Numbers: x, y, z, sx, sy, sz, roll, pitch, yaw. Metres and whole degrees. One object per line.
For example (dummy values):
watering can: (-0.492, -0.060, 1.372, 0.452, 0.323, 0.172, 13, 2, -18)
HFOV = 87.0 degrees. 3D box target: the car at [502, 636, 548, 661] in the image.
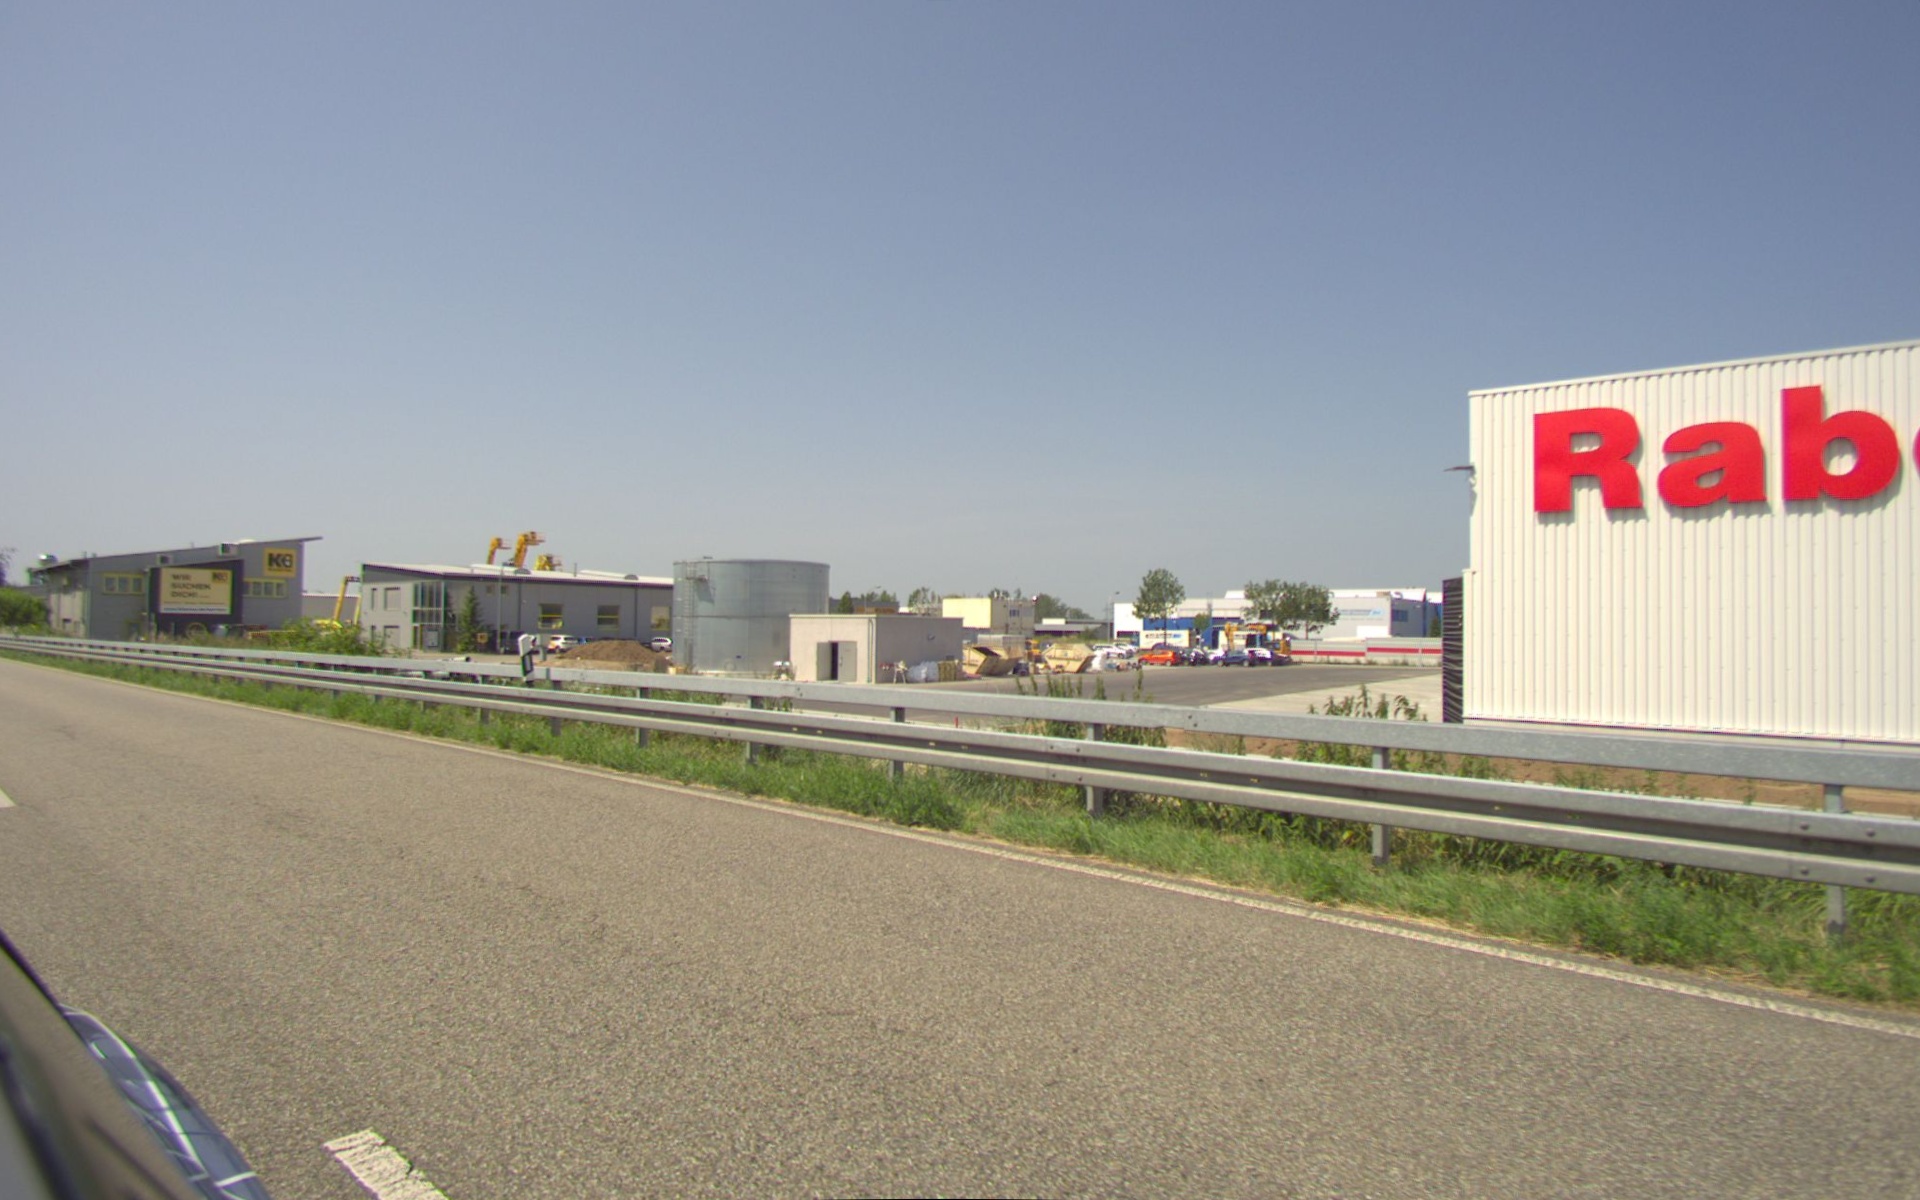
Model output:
car: (-36.996, 4.127, 86.029, 3.997, 2.029, 1.973, -1, -2, 40)

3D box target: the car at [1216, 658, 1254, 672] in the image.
car: (25.787, 6.125, 95.009, 3.114, 1.175, 1.481, -1, -4, 35)

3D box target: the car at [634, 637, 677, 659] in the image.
car: (-28.967, 4.538, 96.284, 3.997, 2.029, 1.973, -1, -3, 40)

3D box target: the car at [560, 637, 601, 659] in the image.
car: (-33.904, 4.266, 90.425, 3.688, 1.915, 1.810, -1, -5, 42)

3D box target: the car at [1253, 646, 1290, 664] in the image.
car: (31.441, 5.542, 102.115, 3.271, 1.725, 1.742, -1, -4, 34)

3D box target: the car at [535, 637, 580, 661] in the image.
car: (-35.101, 4.240, 88.270, 3.997, 2.029, 1.973, -1, -2, 40)

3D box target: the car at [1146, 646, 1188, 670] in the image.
car: (19.295, 5.397, 94.220, 3.458, 2.029, 1.742, -1, -4, 34)

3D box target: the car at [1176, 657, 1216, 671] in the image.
car: (22.641, 6.126, 97.151, 3.486, 1.252, 1.482, 0, -4, 34)

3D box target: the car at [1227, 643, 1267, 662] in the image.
car: (29.872, 5.434, 105.328, 3.652, 1.868, 1.742, -1, -4, 34)

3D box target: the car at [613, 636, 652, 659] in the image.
car: (-30.455, 4.373, 94.144, 3.526, 2.029, 1.810, -1, -5, 42)

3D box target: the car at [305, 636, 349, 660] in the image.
car: (-46.213, 3.524, 73.889, 3.306, 1.686, 1.537, -1, -3, 36)
